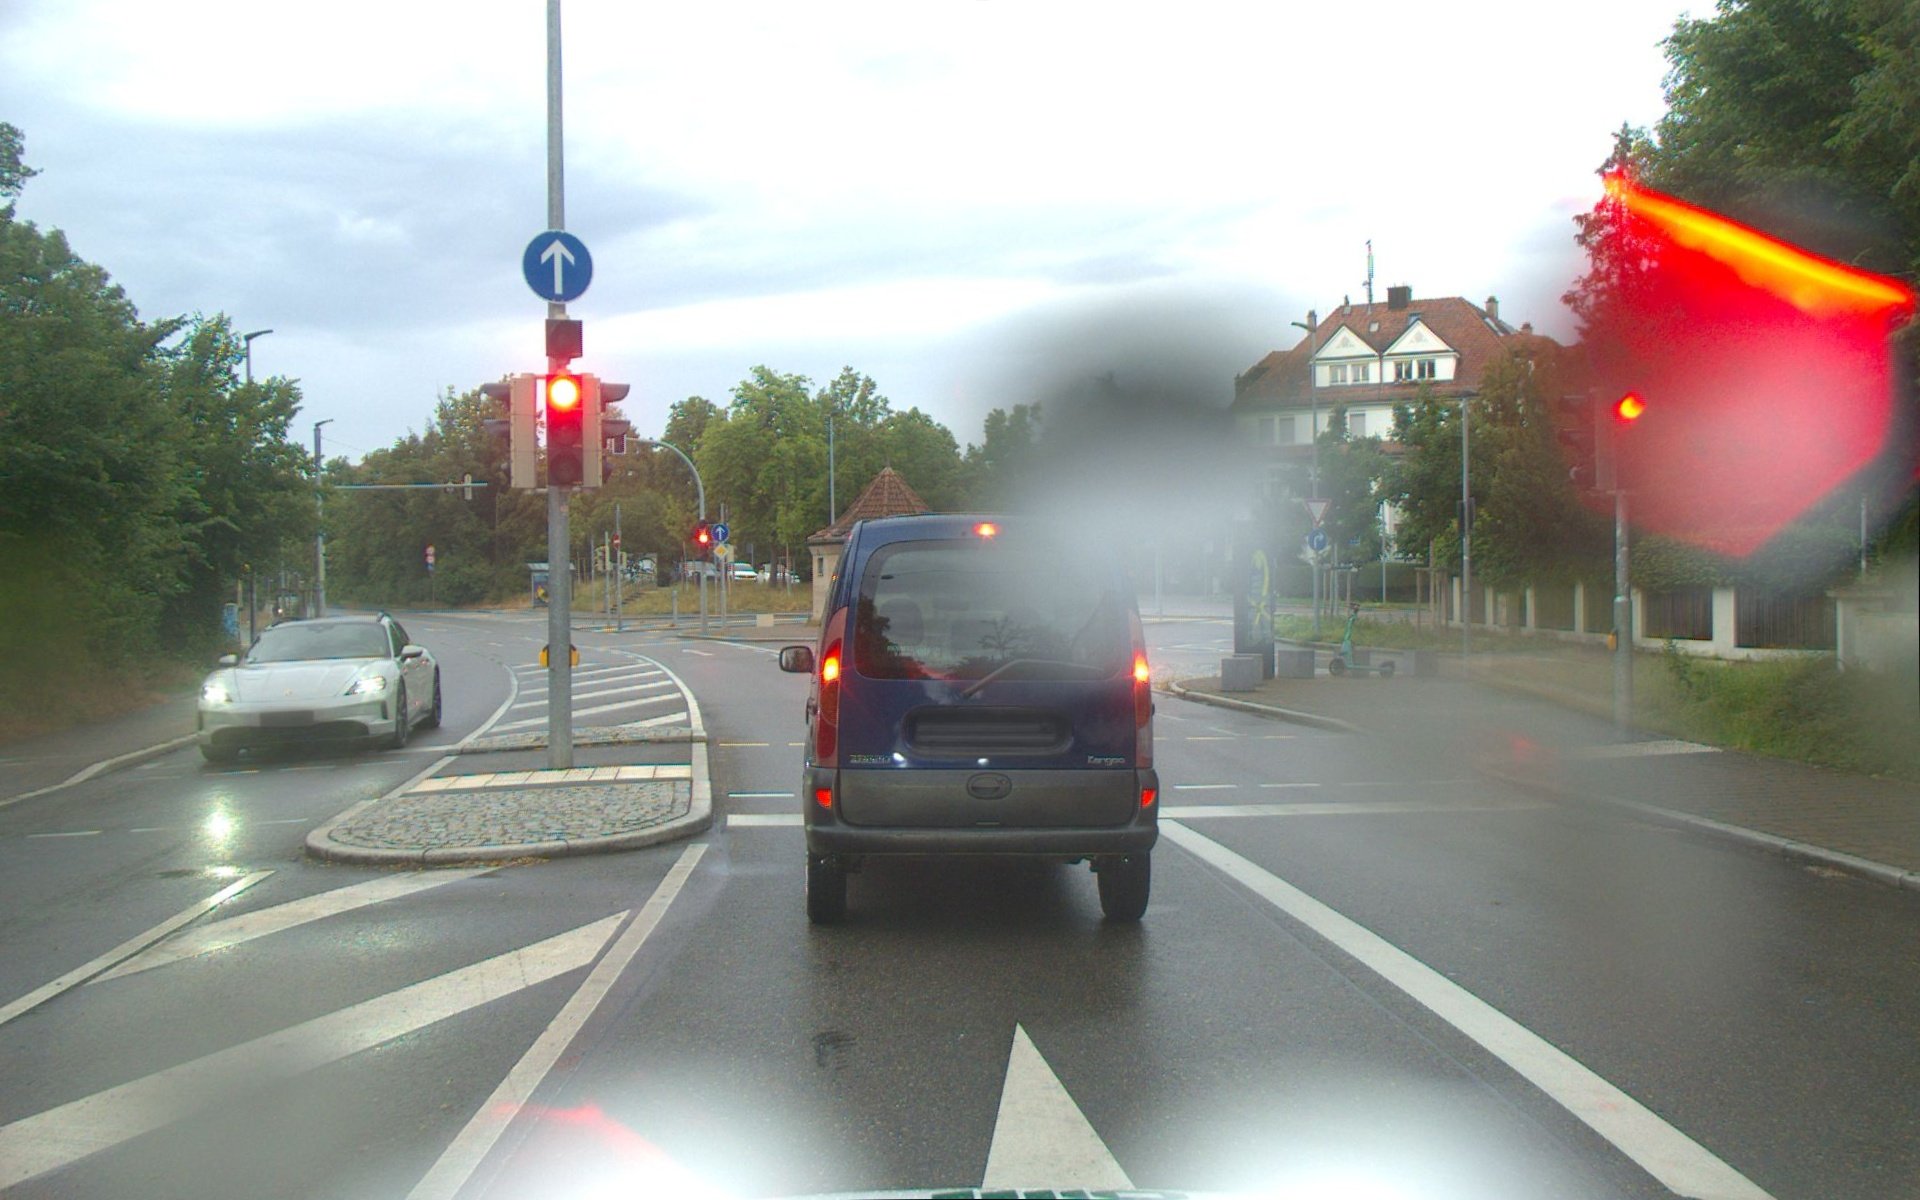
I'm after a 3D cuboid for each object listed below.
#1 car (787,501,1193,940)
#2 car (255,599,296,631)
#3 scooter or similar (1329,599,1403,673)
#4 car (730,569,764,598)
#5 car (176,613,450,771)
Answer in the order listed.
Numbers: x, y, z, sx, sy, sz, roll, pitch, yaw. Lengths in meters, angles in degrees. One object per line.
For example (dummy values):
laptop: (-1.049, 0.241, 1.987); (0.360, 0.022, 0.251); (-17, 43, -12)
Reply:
car: (0.041, 0.484, 8.897); (1.697, 1.817, 3.998); (0, 0, -3)
car: (-45.692, 1.005, 110.405); (1.973, 2.049, 3.958); (0, -1, -31)
scooter or similar: (6.841, 0.605, 27.871); (1.125, 1.240, 0.405); (-1, -1, -2)
car: (-14.119, -1.103, 109.676); (1.954, 1.844, 3.997); (0, -1, -3)
car: (-6.921, 0.900, 18.192); (1.958, 1.334, 4.348); (-3, 1, -11)
